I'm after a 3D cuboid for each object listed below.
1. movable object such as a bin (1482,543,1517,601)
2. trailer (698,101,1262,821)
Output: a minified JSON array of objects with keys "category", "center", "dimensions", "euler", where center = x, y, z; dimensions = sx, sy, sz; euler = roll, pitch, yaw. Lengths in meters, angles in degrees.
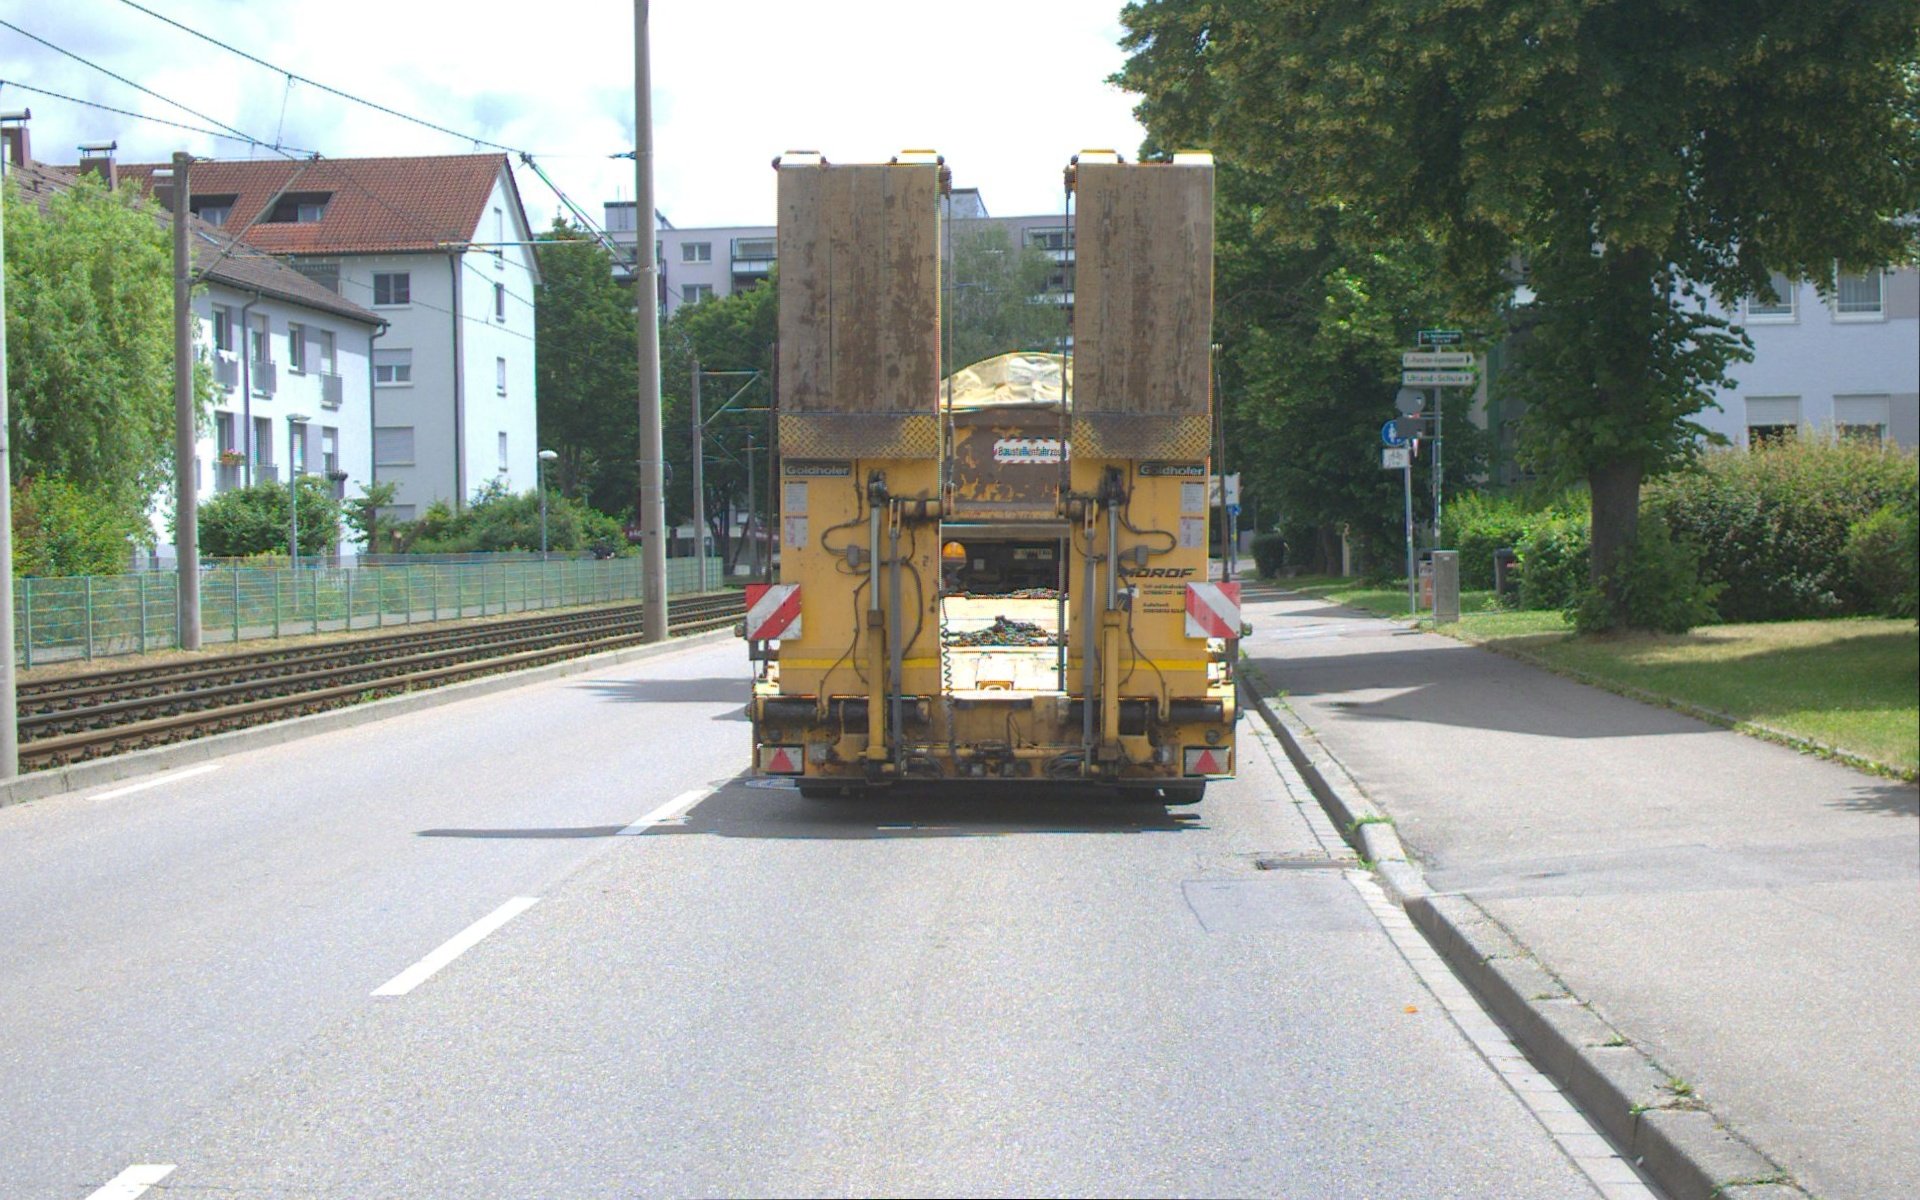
[{"category":"movable object such as a bin","center":[9.047,-0.468,57.650],"dimensions":[0.496,0.951,0.580],"euler":[-2,0,3]},{"category":"trailer","center":[0.041,-0.792,23.703],"dimensions":[2.827,3.633,12.354],"euler":[1,1,-1]}]
